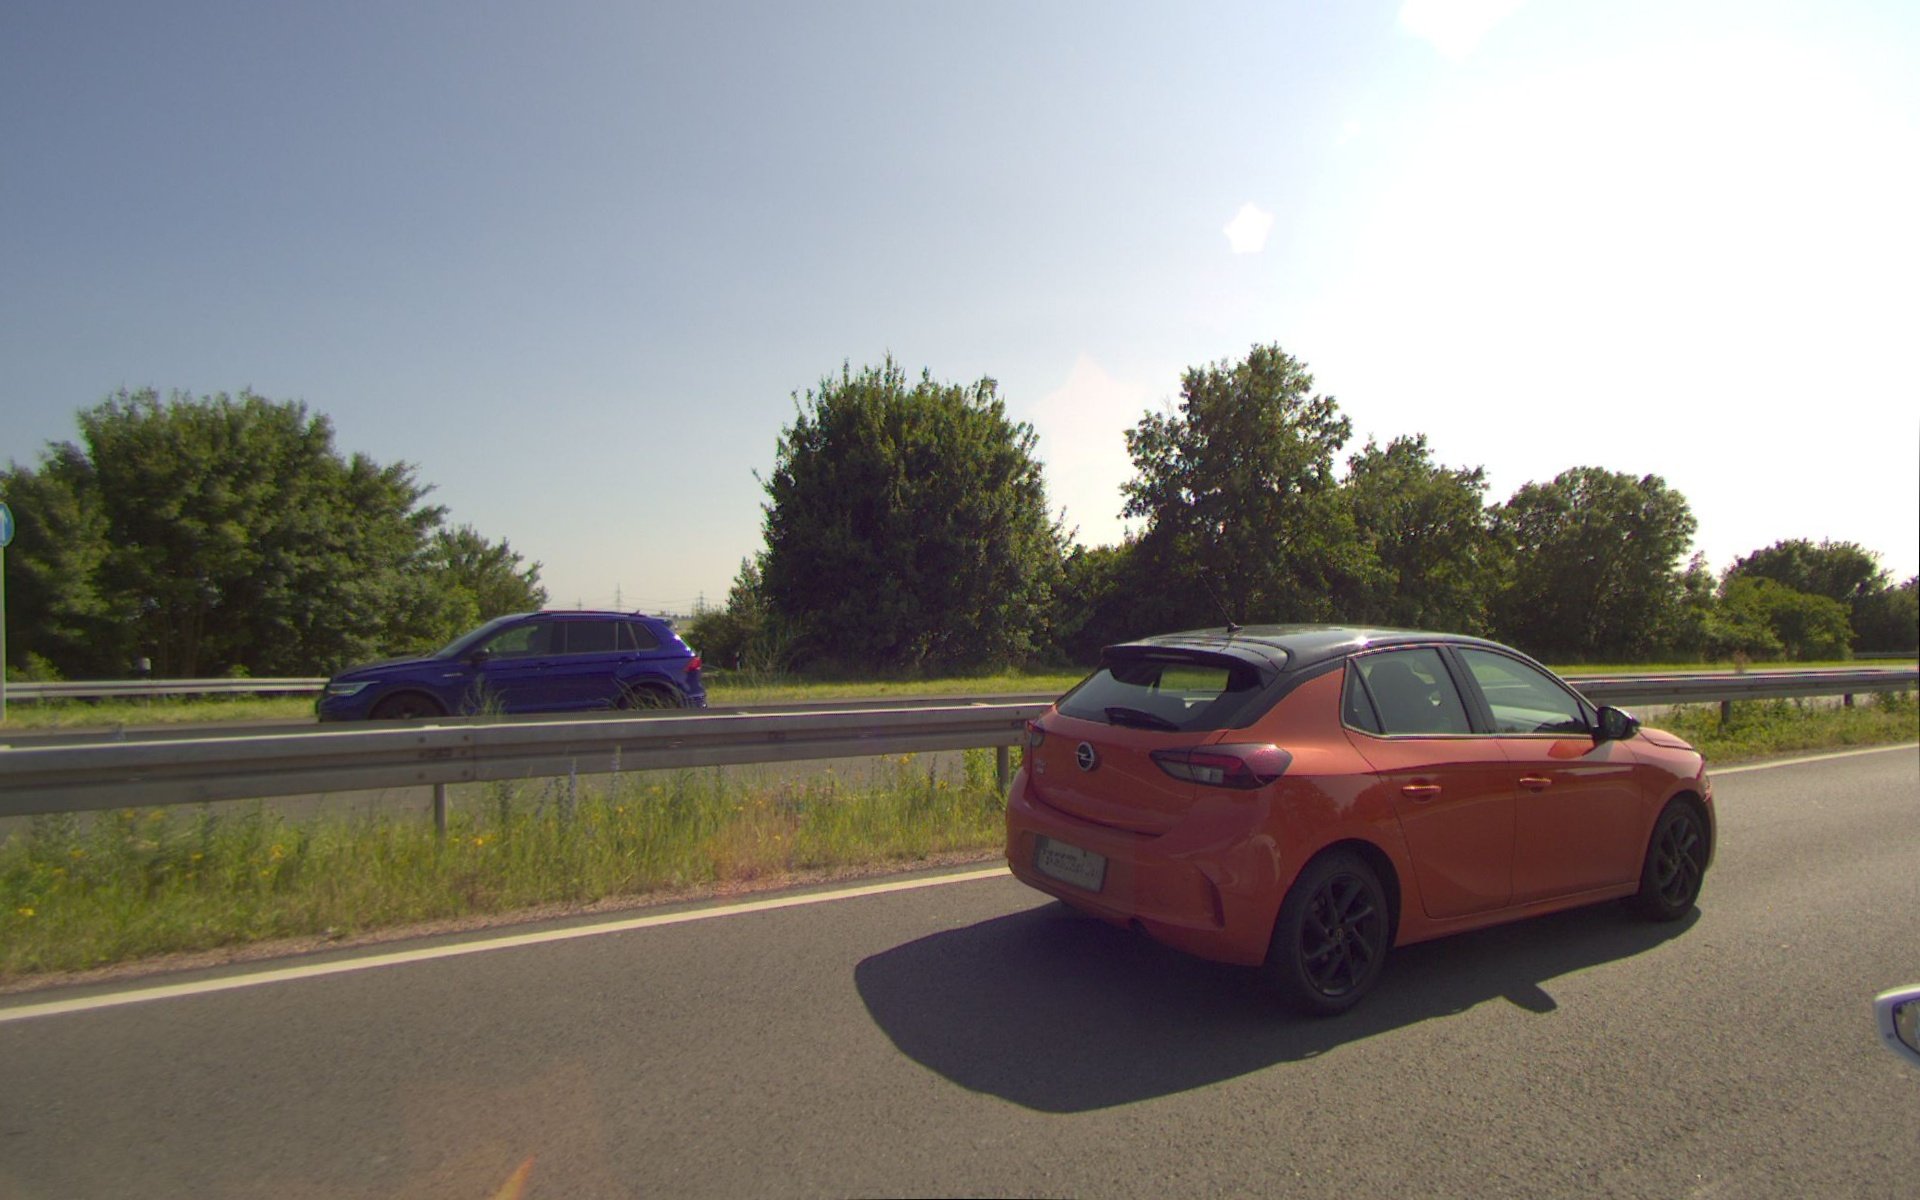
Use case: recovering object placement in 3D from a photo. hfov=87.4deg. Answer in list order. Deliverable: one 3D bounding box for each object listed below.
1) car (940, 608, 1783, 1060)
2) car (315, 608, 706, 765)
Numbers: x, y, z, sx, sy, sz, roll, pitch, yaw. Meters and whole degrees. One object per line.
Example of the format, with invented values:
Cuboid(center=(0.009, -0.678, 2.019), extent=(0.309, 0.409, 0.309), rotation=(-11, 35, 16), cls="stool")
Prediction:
Cuboid(center=(2.204, 0.827, 5.109), extent=(4.361, 1.456, 1.701), rotation=(2, -2, -31), cls="car")
Cuboid(center=(-5.572, 0.944, 12.697), extent=(4.223, 1.627, 1.984), rotation=(0, 1, -30), cls="car")
